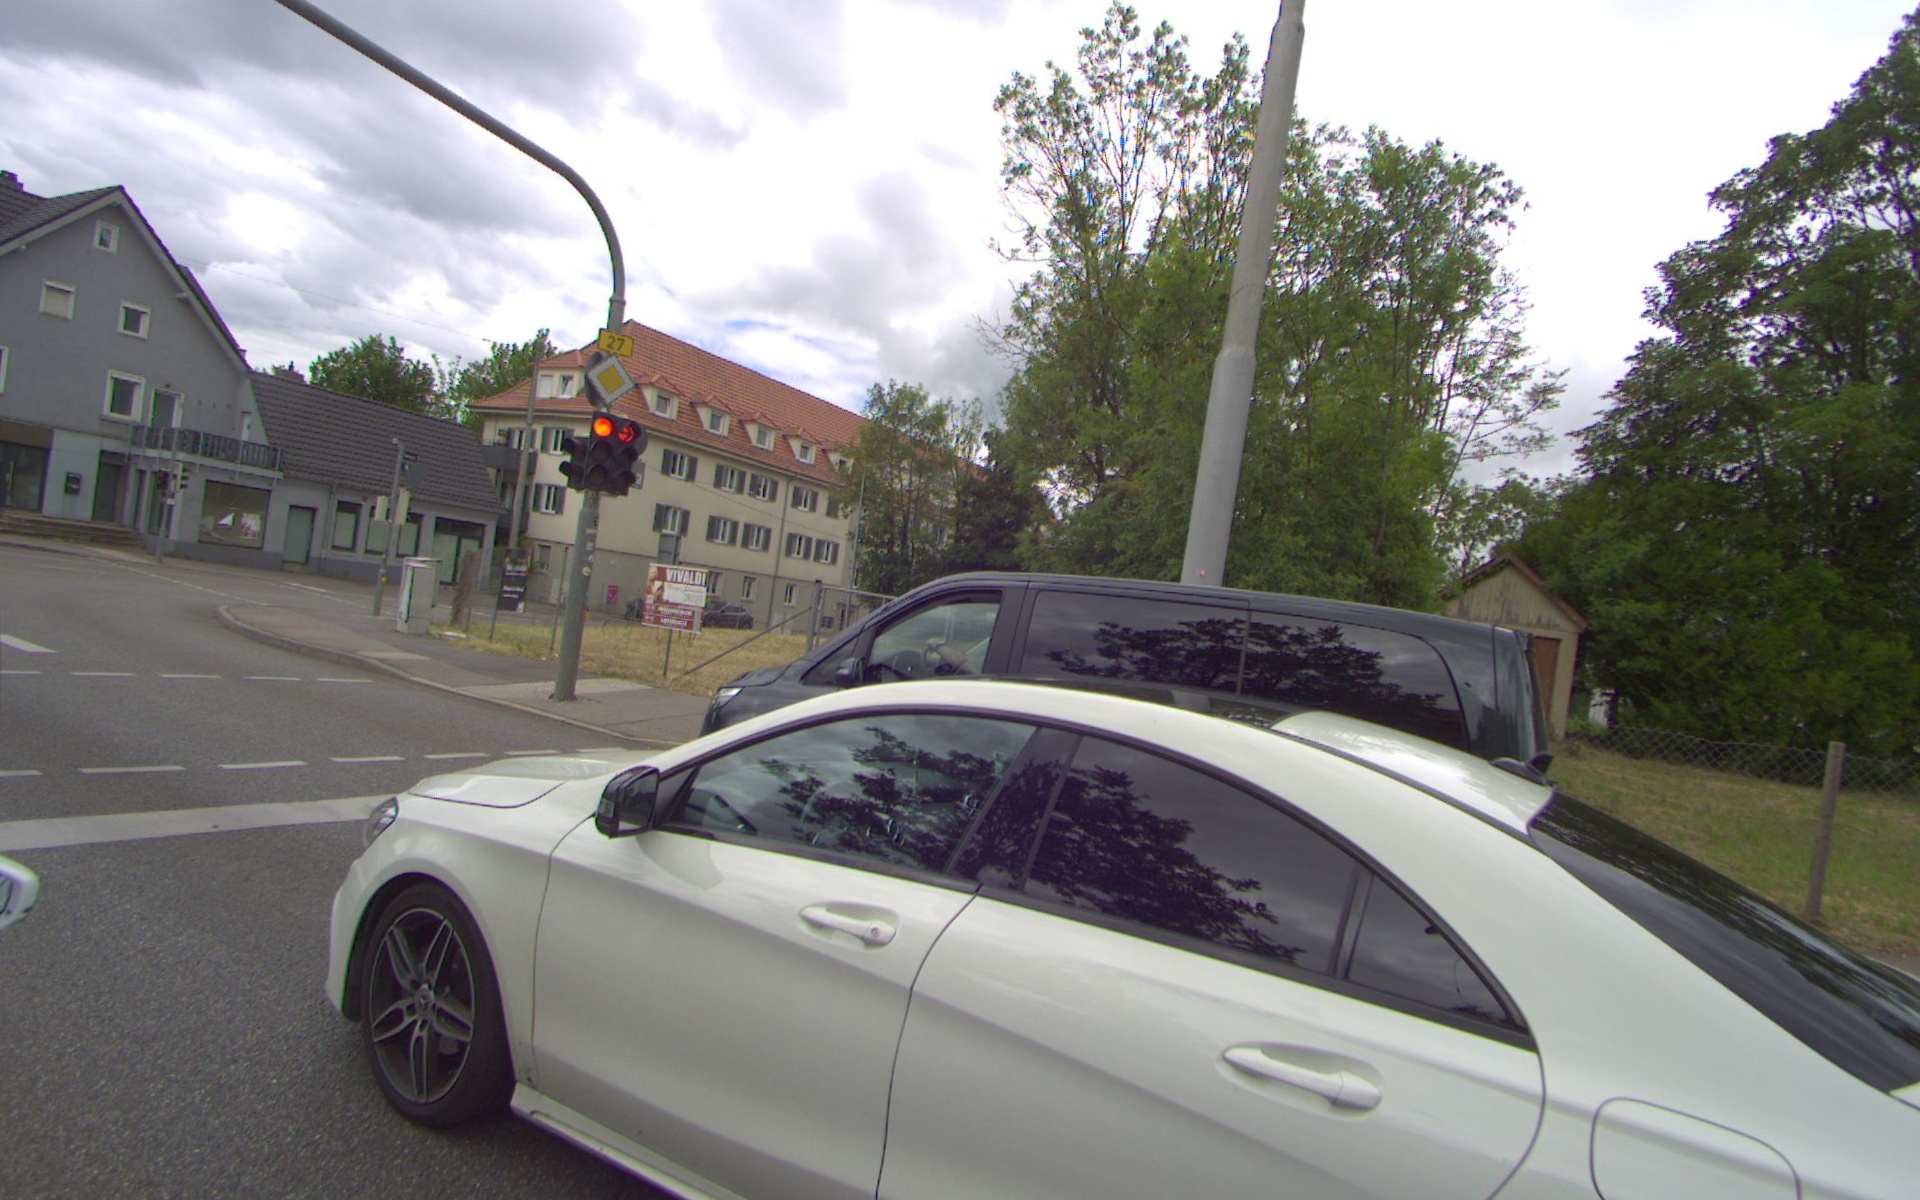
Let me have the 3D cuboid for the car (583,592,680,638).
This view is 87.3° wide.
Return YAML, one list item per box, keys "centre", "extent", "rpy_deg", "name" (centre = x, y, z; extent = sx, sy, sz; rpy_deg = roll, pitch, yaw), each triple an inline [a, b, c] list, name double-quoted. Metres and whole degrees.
- centre: [-15.516, 0.740, 47.661]
  extent: [1.839, 1.554, 3.996]
  rpy_deg: [7, -2, 32]
  name: "car"

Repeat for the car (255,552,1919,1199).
- centre: [0.162, 0.852, 2.641]
  extent: [4.305, 1.451, 1.651]
  rpy_deg: [7, 0, 32]
  name: "car"

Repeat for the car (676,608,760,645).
- centre: [-12.621, 1.403, 52.650]
  extent: [1.839, 1.393, 3.996]
  rpy_deg: [7, -2, 32]
  name: "car"

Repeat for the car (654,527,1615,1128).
- centre: [0.749, 0.823, 5.625]
  extent: [4.631, 1.860, 1.953]
  rpy_deg: [7, -2, 32]
  name: "car"
